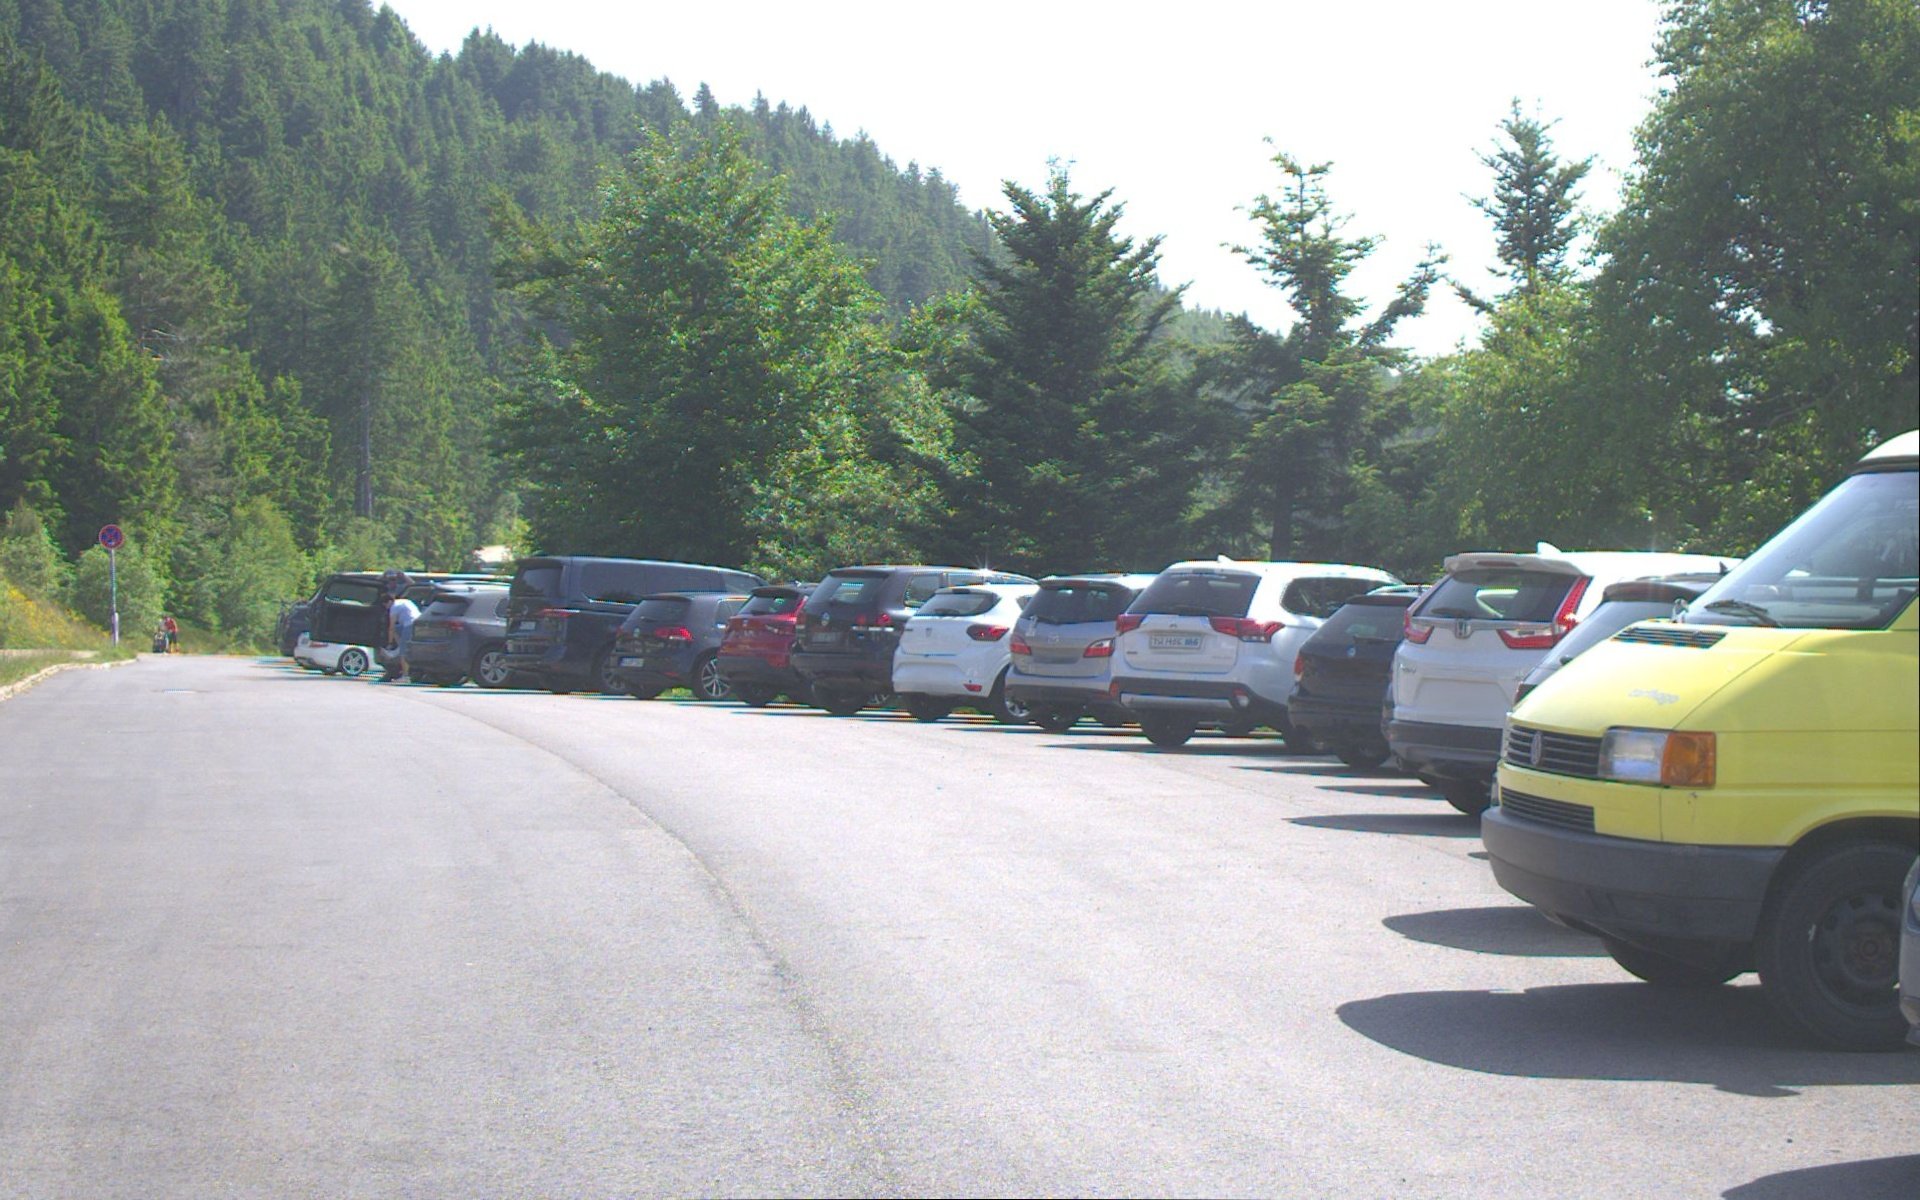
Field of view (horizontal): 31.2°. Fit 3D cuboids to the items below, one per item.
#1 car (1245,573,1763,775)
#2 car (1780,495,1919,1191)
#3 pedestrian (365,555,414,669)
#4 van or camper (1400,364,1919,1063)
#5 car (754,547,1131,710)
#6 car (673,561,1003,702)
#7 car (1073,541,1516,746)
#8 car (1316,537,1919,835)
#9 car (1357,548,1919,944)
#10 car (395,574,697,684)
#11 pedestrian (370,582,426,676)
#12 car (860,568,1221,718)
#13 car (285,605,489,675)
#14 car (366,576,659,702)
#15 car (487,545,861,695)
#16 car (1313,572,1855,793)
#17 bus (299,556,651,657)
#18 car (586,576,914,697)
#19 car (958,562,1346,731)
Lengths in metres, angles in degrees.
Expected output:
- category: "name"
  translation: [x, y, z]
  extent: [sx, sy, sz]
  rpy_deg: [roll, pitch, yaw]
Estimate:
- category: "car"
  translation: [4.422, 0.611, 27.648]
  extent: [4.039, 1.456, 1.894]
  rpy_deg: [3, -1, -40]
- category: "car"
  translation: [4.258, 0.601, 8.084]
  extent: [4.150, 1.583, 1.705]
  rpy_deg: [1, 1, -9]
- category: "pedestrian"
  translation: [-8.984, 0.200, 54.148]
  extent: [0.579, 1.755, 0.633]
  rpy_deg: [3, -1, -1]
- category: "van or camper"
  translation: [4.235, 0.408, 11.349]
  extent: [5.088, 2.007, 1.883]
  rpy_deg: [3, 1, -11]
- category: "car"
  translation: [-0.149, 0.354, 39.687]
  extent: [1.989, 1.689, 4.263]
  rpy_deg: [2, -1, 40]
- category: "car"
  translation: [-1.478, 0.410, 42.965]
  extent: [1.862, 1.584, 3.990]
  rpy_deg: [2, -1, 40]
- category: "car"
  translation: [3.091, 0.403, 31.111]
  extent: [1.862, 1.689, 4.216]
  rpy_deg: [2, 0, 40]
- category: "car"
  translation: [4.456, 0.546, 21.102]
  extent: [4.171, 1.644, 1.892]
  rpy_deg: [3, -1, -32]
- category: "car"
  translation: [4.095, 0.536, 14.853]
  extent: [4.349, 1.482, 1.813]
  rpy_deg: [-1, 2, -15]
- category: "car"
  translation: [-6.130, 0.431, 51.012]
  extent: [3.987, 1.438, 1.840]
  rpy_deg: [3, -1, -33]
- category: "pedestrian"
  translation: [-8.504, 0.433, 52.018]
  extent: [0.773, 1.398, 0.669]
  rpy_deg: [-1, 1, -6]
- category: "car"
  translation: [0.931, 0.487, 37.589]
  extent: [1.766, 1.471, 3.990]
  rpy_deg: [2, -1, 40]
- category: "car"
  translation: [-13.671, 0.956, 82.107]
  extent: [4.452, 1.294, 1.582]
  rpy_deg: [5, -1, -28]
- category: "car"
  translation: [-6.990, 0.621, 53.873]
  extent: [3.988, 1.656, 1.999]
  rpy_deg: [6, -3, -39]
- category: "car"
  translation: [-3.976, 0.283, 48.035]
  extent: [4.757, 1.873, 1.966]
  rpy_deg: [3, -1, -31]
- category: "car"
  translation: [4.611, 0.621, 25.239]
  extent: [3.794, 1.454, 1.662]
  rpy_deg: [3, 0, -35]
- category: "bus"
  translation: [-18.361, 0.218, 130.534]
  extent: [12.862, 3.566, 2.981]
  rpy_deg: [1, 2, 5]
- category: "car"
  translation: [-2.730, 0.496, 45.199]
  extent: [3.988, 1.410, 1.744]
  rpy_deg: [3, -1, -39]
- category: "car"
  translation: [1.996, 0.497, 34.751]
  extent: [1.819, 1.544, 3.990]
  rpy_deg: [2, -1, 40]
